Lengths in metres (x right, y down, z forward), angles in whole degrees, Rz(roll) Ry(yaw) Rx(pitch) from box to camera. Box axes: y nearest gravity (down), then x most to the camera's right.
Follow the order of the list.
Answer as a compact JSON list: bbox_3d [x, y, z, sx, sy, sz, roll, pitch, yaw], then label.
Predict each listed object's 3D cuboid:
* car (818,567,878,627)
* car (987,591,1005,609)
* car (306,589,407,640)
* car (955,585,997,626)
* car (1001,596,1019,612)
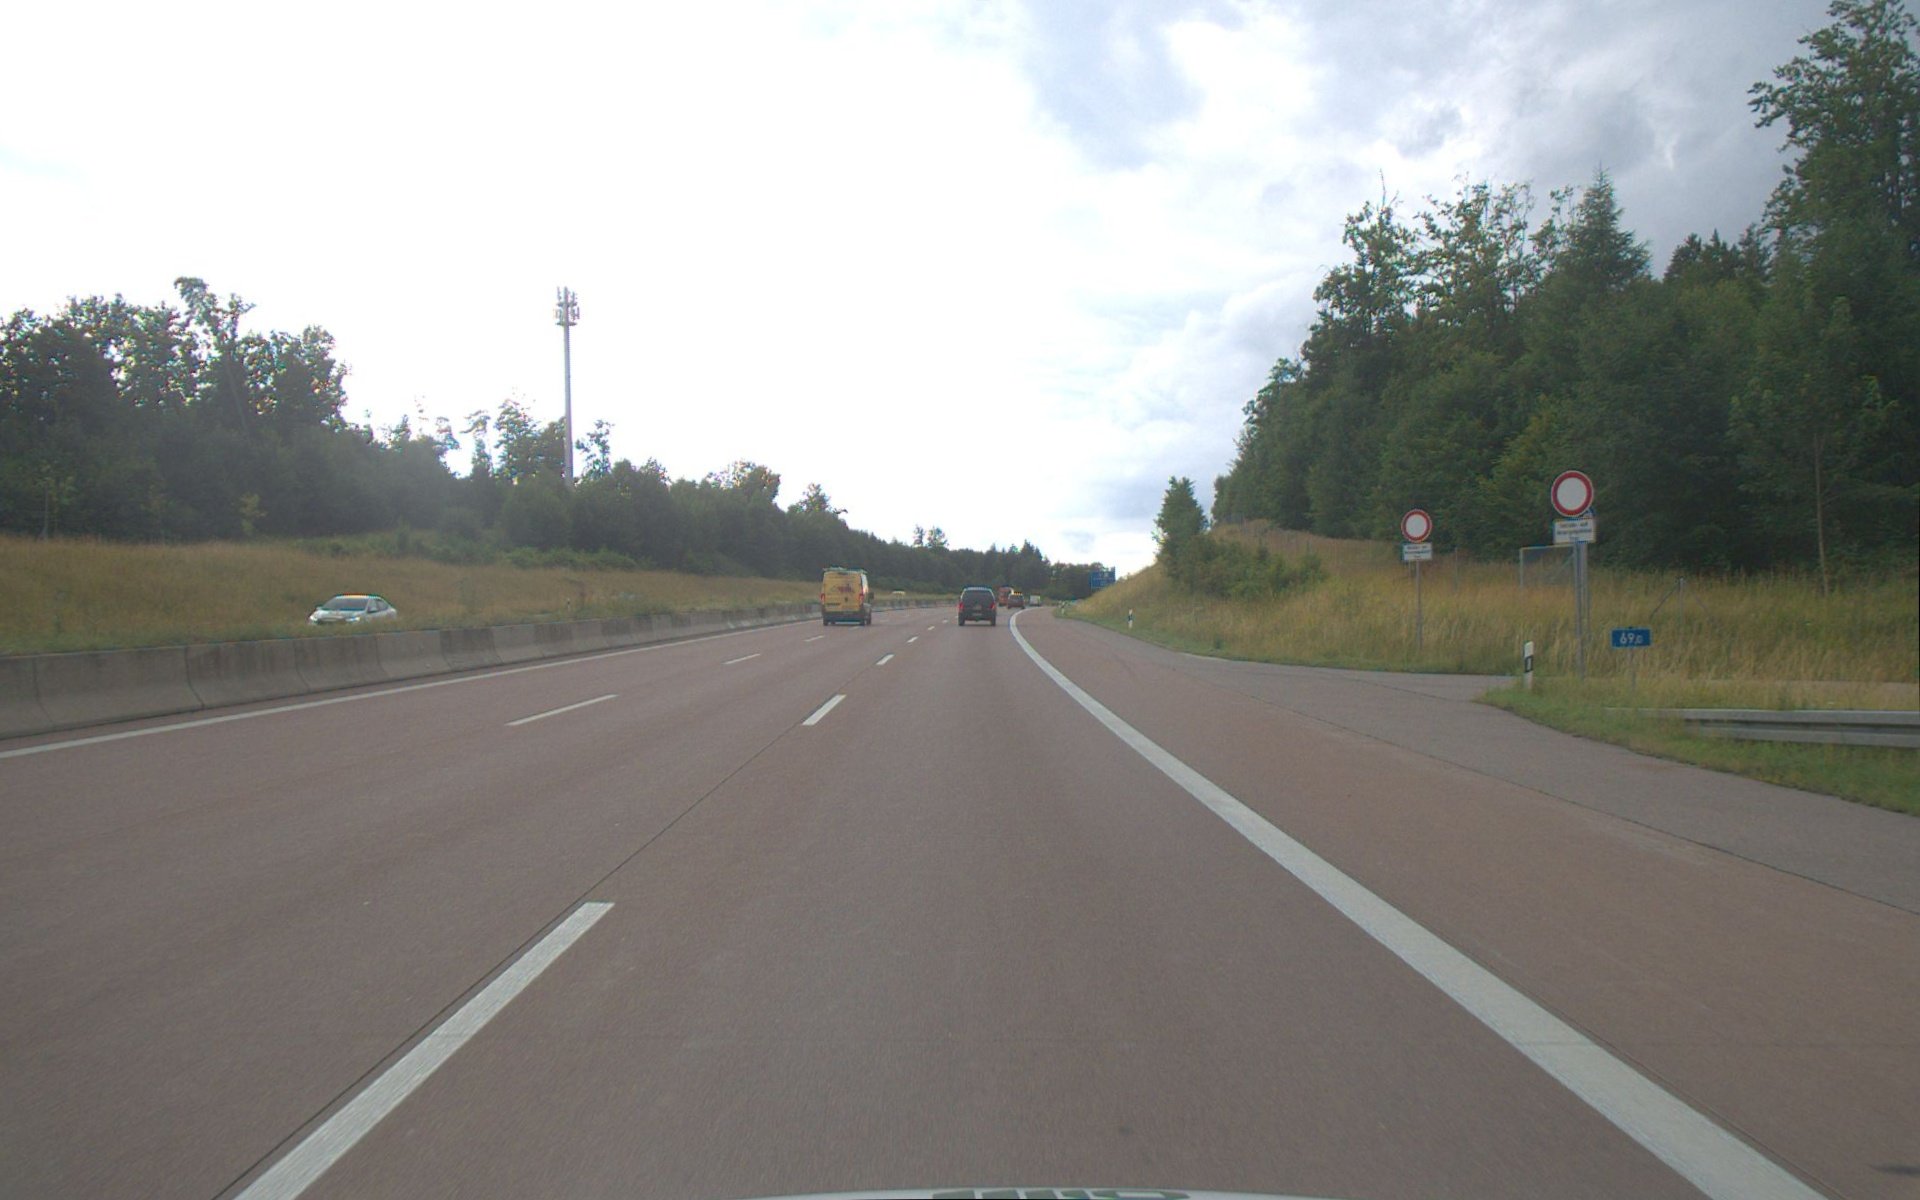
[{"bbox_3d":[-5.436,-0.088,80.931,2.407,2.754,5.614,0,-1,2],"label":"car"},{"bbox_3d":[5.075,-0.010,233.392,2.194,2.472,6.207,0,0,4],"label":"car"},{"bbox_3d":[-19.680,0.514,54.155,1.636,1.552,4.824,1,-2,-2],"label":"car"},{"bbox_3d":[0.821,0.321,83.119,2.002,1.930,5.577,0,-1,1],"label":"car"},{"bbox_3d":[5.471,0.466,181.119,1.937,1.677,4.619,0,0,1],"label":"car"}]
